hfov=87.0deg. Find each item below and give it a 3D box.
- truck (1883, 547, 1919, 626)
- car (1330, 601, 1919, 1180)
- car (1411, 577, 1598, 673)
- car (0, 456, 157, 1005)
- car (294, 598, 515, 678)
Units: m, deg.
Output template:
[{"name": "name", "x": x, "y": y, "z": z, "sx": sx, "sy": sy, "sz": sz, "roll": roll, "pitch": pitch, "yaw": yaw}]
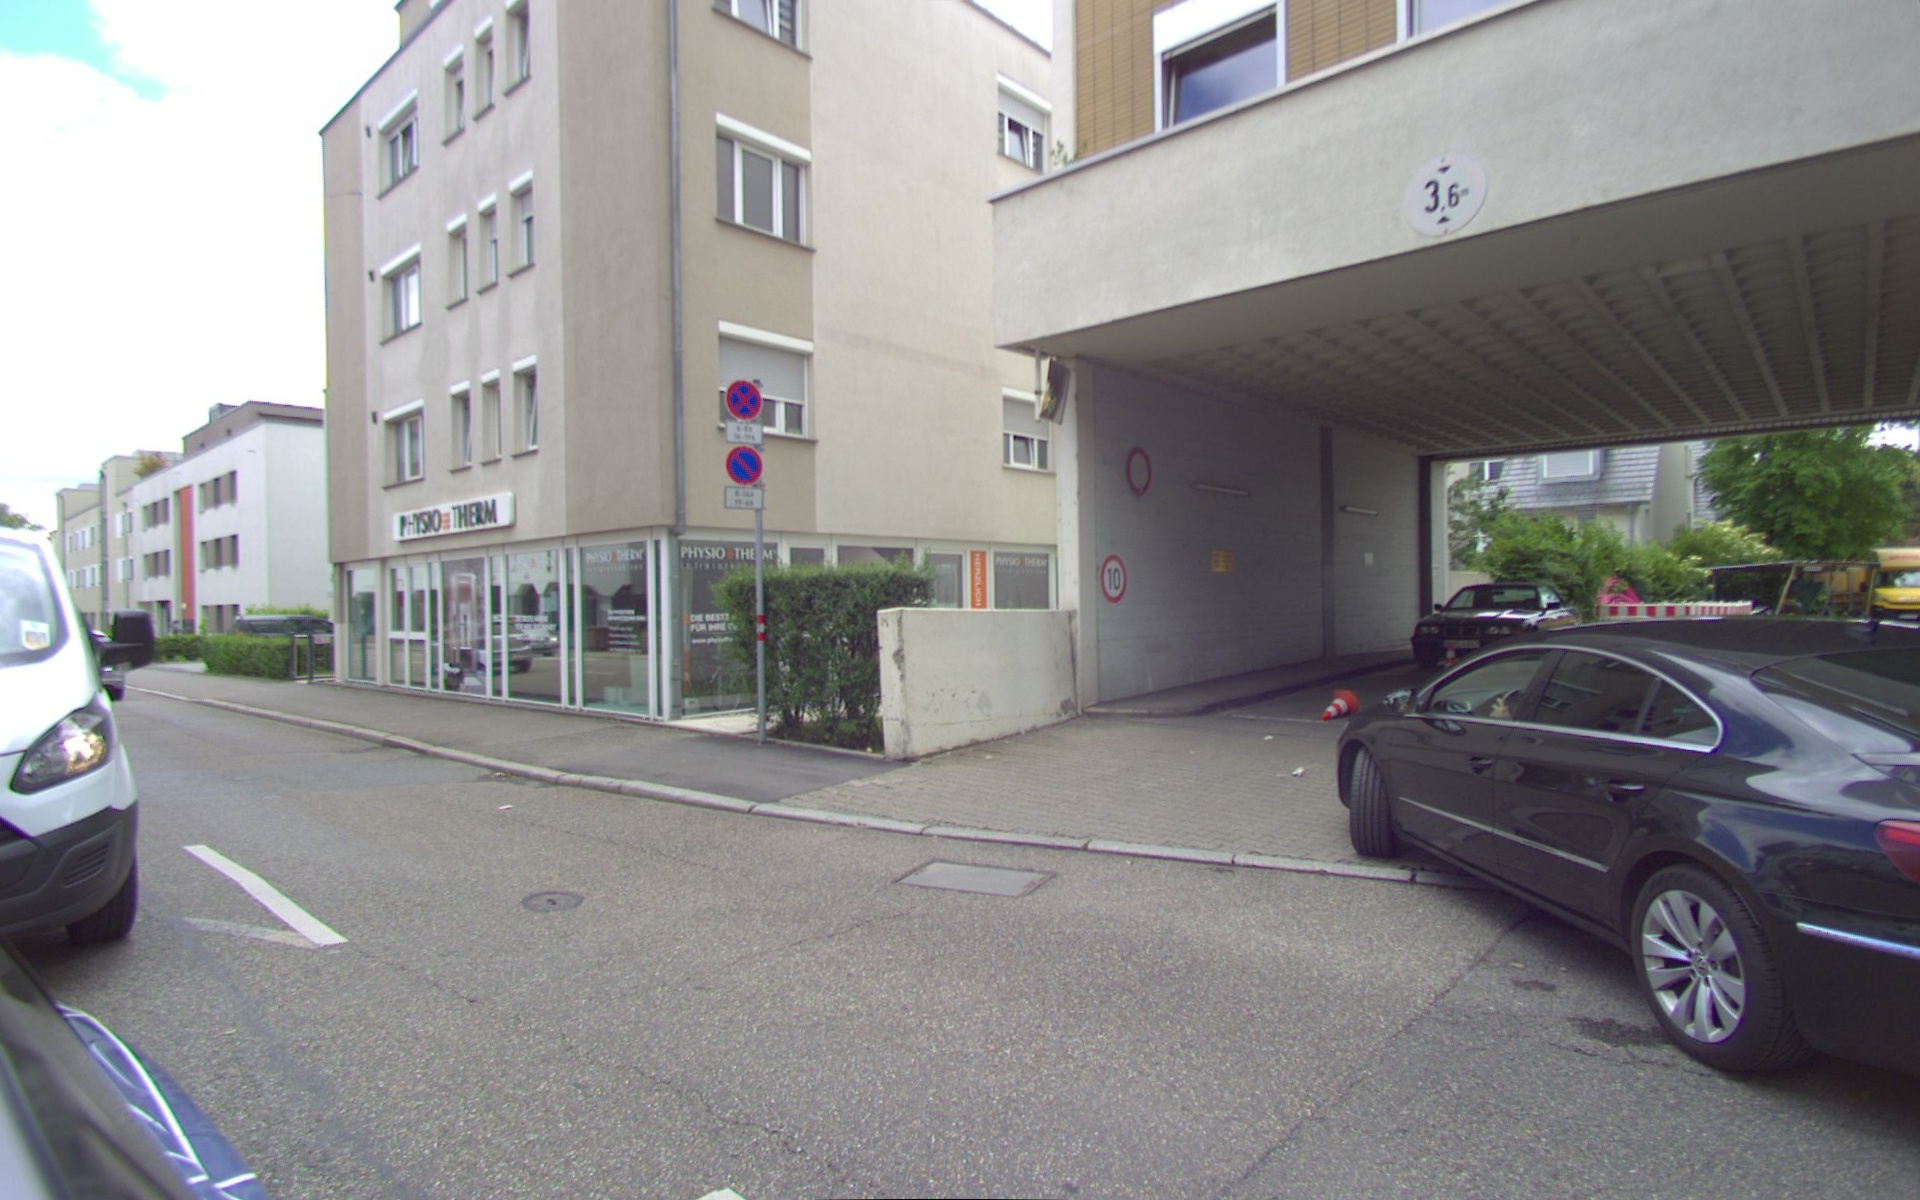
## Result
[{"name": "truck", "x": 36.456, "y": -0.589, "z": 37.998, "sx": 7.185, "sy": 2.772, "sz": 2.002, "roll": -2, "pitch": 1, "yaw": -43}, {"name": "car", "x": 3.198, "y": 0.725, "z": 4.251, "sx": 1.634, "sy": 1.409, "sz": 4.453, "roll": -1, "pitch": 0, "yaw": 0}, {"name": "car", "x": 8.851, "y": 0.328, "z": 16.278, "sx": 1.624, "sy": 1.333, "sz": 4.391, "roll": -1, "pitch": 0, "yaw": 42}, {"name": "car", "x": -5.773, "y": 0.532, "z": 4.989, "sx": 5.084, "sy": 2.013, "sz": 1.939, "roll": -2, "pitch": -1, "yaw": 41}, {"name": "car", "x": -15.212, "y": 0.972, "z": 27.944, "sx": 1.967, "sy": 2.013, "sz": 5.014, "roll": -2, "pitch": -1, "yaw": 44}]
